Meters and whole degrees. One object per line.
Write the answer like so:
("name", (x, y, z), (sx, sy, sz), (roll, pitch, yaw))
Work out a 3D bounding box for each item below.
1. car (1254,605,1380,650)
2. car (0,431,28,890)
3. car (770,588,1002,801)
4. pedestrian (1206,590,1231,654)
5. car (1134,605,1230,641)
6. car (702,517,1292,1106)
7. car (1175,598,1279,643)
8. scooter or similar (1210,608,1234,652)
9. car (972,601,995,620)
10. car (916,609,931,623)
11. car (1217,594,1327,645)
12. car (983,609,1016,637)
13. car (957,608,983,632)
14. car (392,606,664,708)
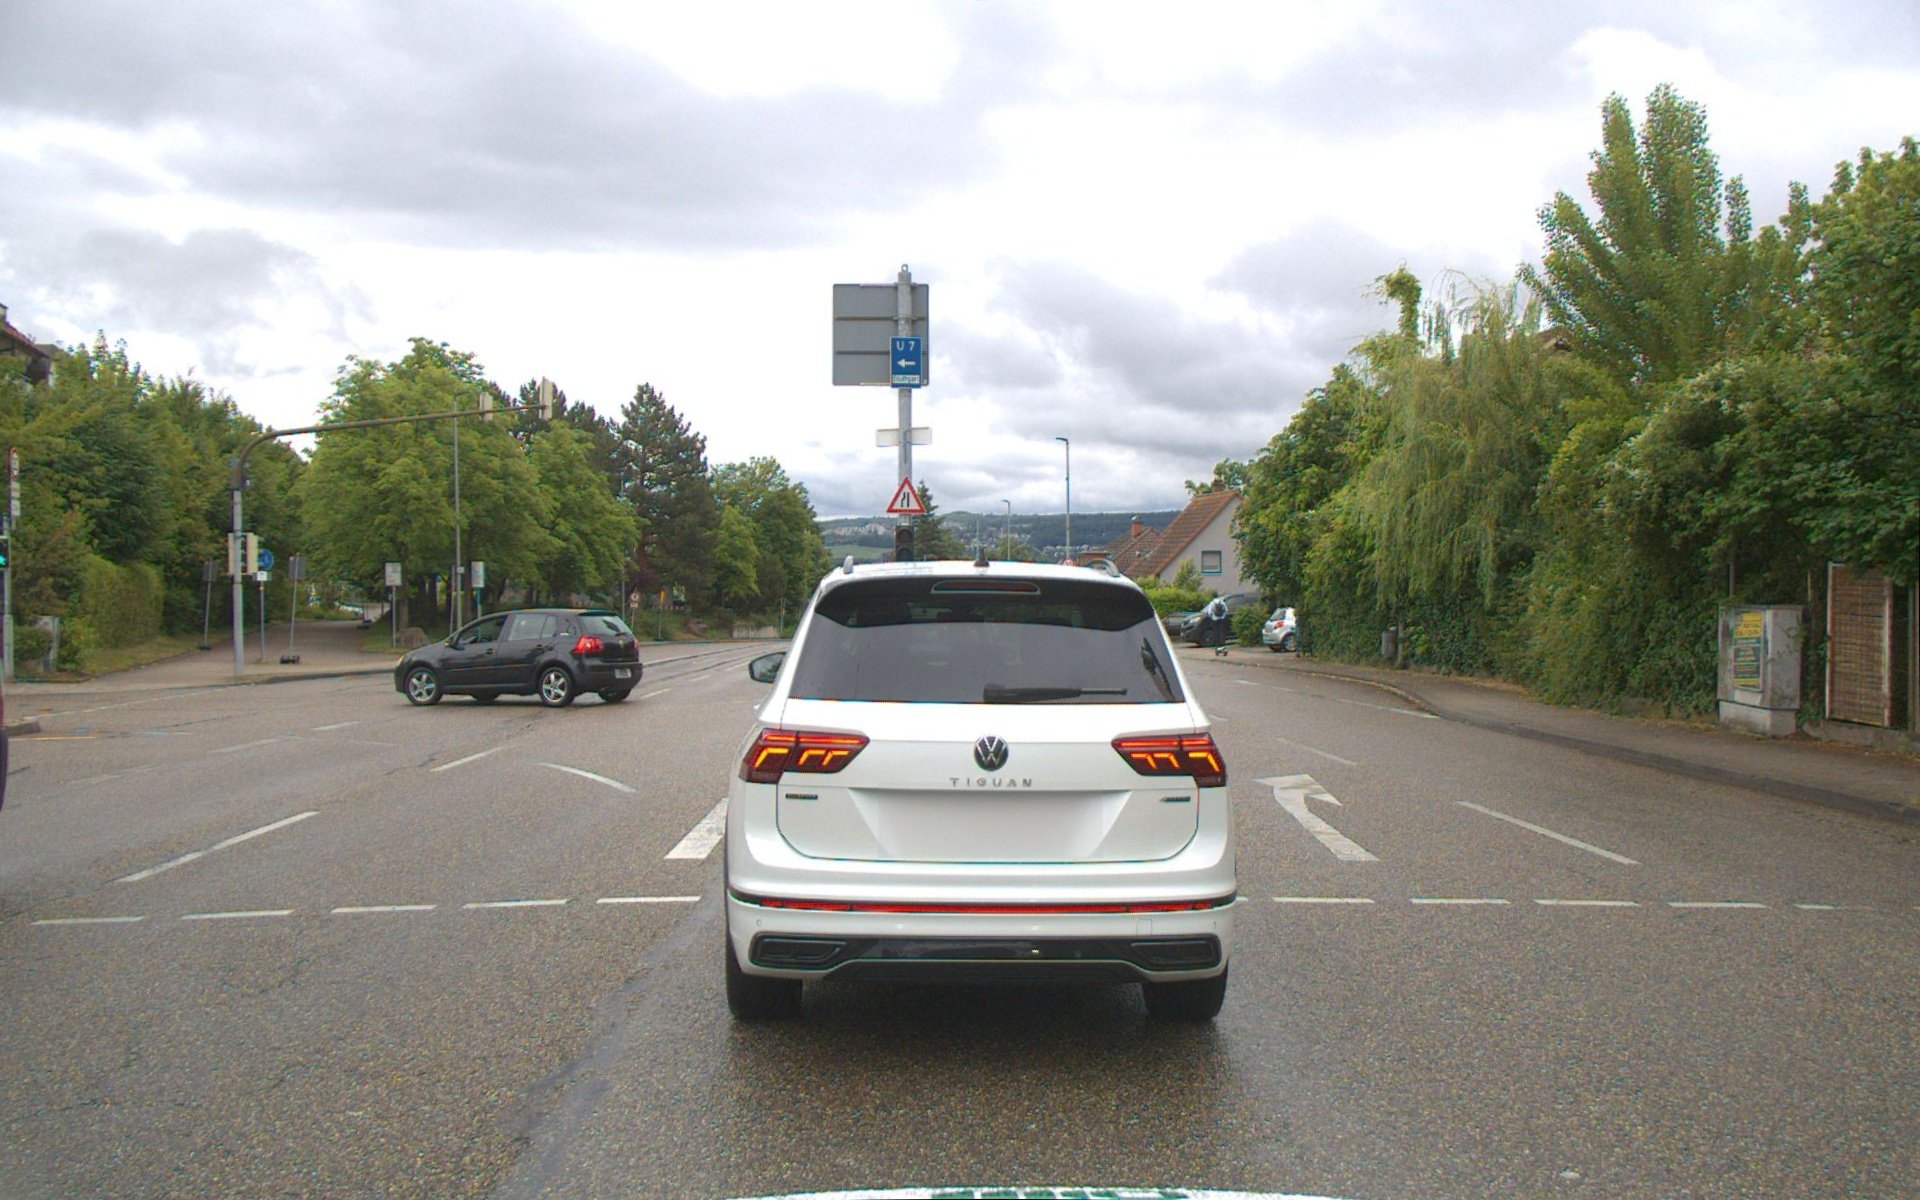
("car", (11.705, 0.897, 54.333), (3.644, 1.420, 1.725), (-1, -1, -8))
("car", (-6.414, 0.365, 6.576), (2.251, 2.572, 5.771), (-2, 0, -2))
("car", (-0.572, 0.723, 14.622), (1.762, 1.617, 3.926), (0, 0, 0))
("pedestrian", (8.266, 0.696, 52.997), (0.642, 2.037, 0.717), (0, 0, -4))
("car", (8.956, 0.924, 66.874), (3.613, 1.394, 1.518), (1, -2, -3))
("car", (0.056, 0.640, 7.118), (1.727, 1.725, 4.271), (2, 0, -2))
("car", (10.015, 0.770, 62.186), (3.556, 1.655, 1.789), (0, -1, -5))
("scooter or similar", (8.386, 0.953, 53.032), (0.452, 1.385, 1.383), (0, 0, -4))
("car", (2.020, 0.920, 143.193), (1.813, 1.602, 3.999), (-1, 0, -1))
("car", (-4.383, 1.937, 199.477), (1.813, 1.602, 3.999), (-1, 0, -1))
("car", (11.249, 0.677, 59.759), (3.556, 1.777, 1.706), (-1, 0, -5))
("car", (2.363, 1.387, 99.388), (1.813, 1.602, 3.999), (1, -1, -1))
("car", (0.698, 1.397, 117.730), (1.813, 1.602, 3.999), (0, 0, -1))
("car", (-6.853, 0.858, 26.254), (3.905, 1.505, 1.766), (0, 0, 22))
